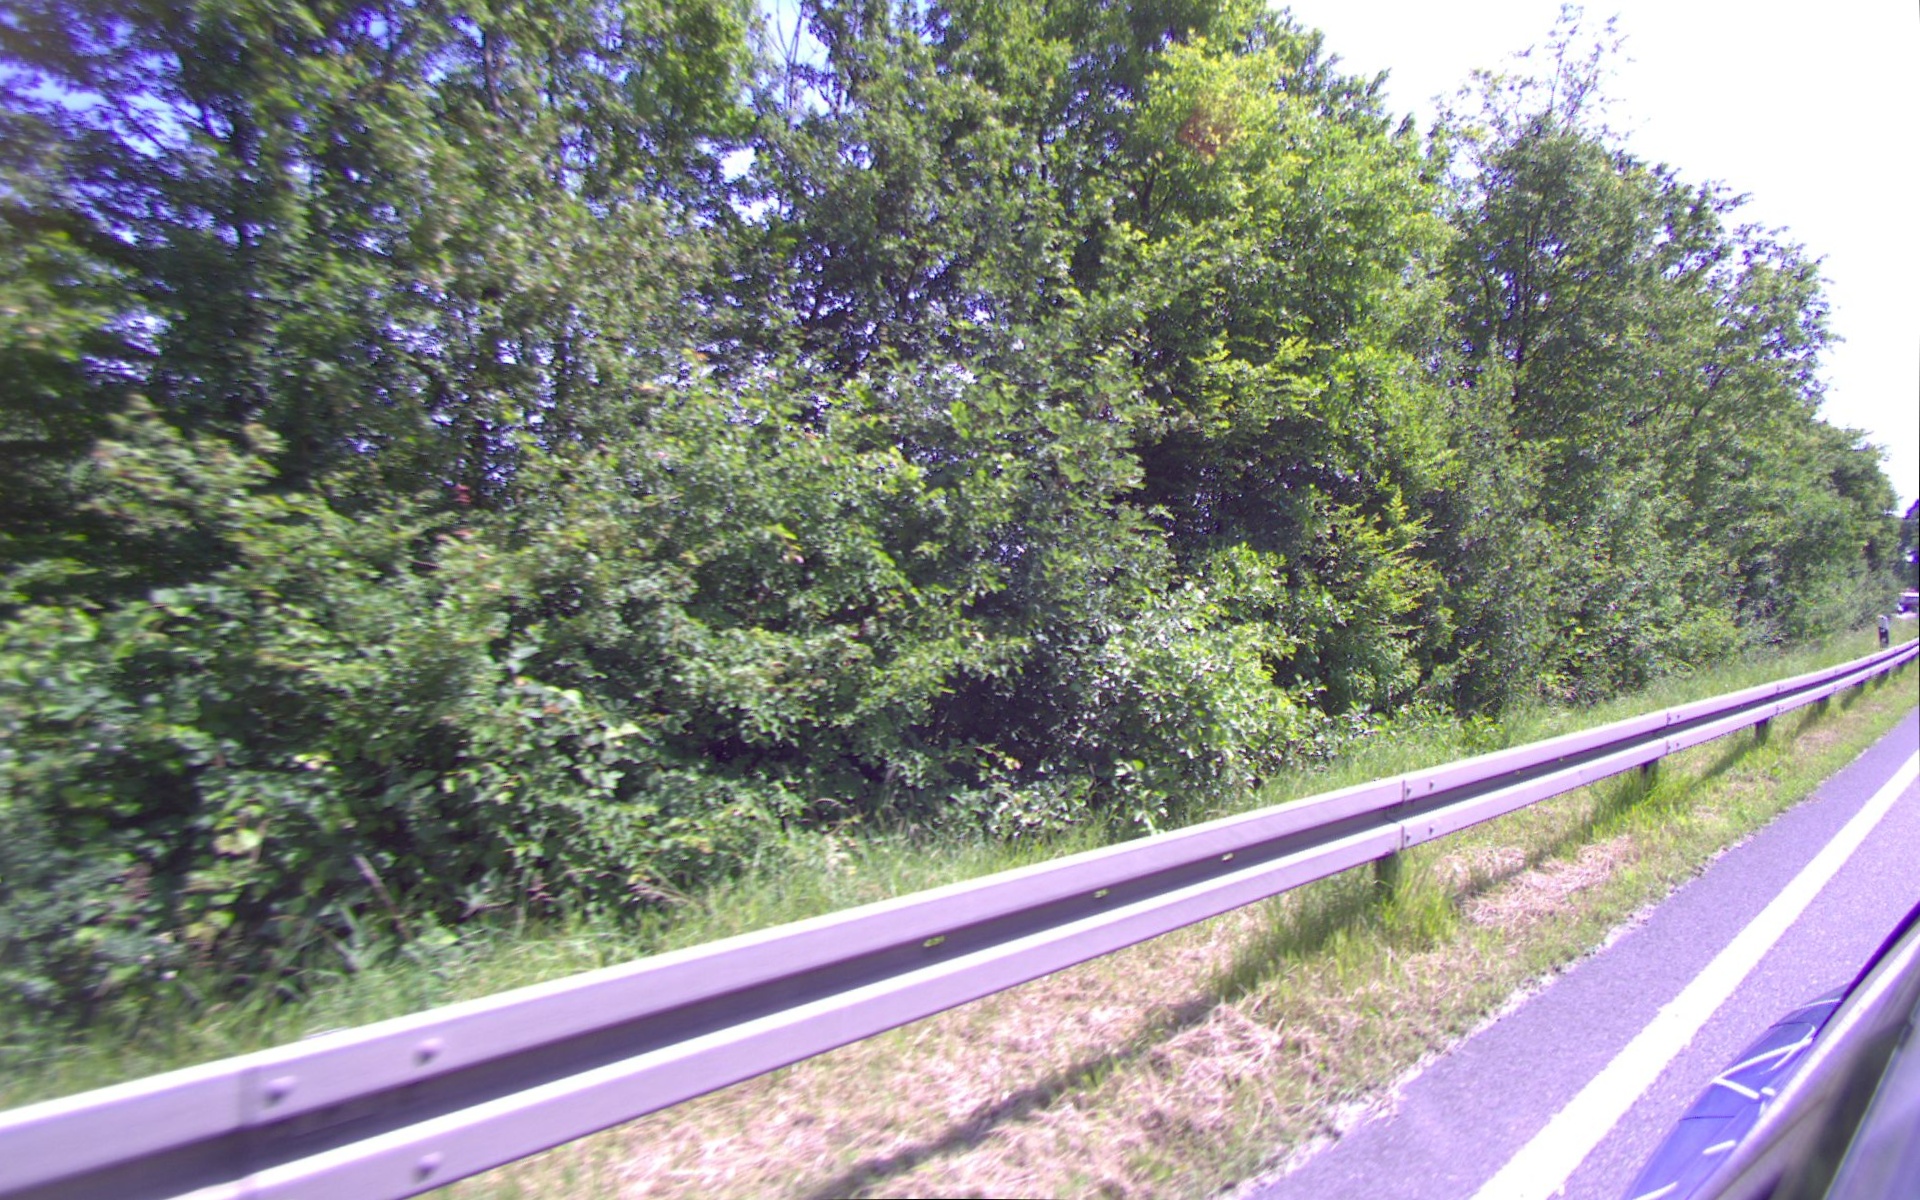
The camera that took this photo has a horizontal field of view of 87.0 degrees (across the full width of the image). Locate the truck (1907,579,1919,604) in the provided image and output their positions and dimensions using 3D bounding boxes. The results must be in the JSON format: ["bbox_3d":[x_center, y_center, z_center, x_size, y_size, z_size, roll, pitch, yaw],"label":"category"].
[{"bbox_3d":[141.379,-1.316,148.847,2.528,3.604,7.649,1,1,40],"label":"truck"}]

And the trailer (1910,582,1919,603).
[{"bbox_3d":[136.836,-1.088,143.510,2.640,2.908,6.974,1,1,40],"label":"trailer"}]

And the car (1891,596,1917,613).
[{"bbox_3d":[115.479,0.552,123.856,1.990,2.039,3.943,-1,-1,39],"label":"car"}]
